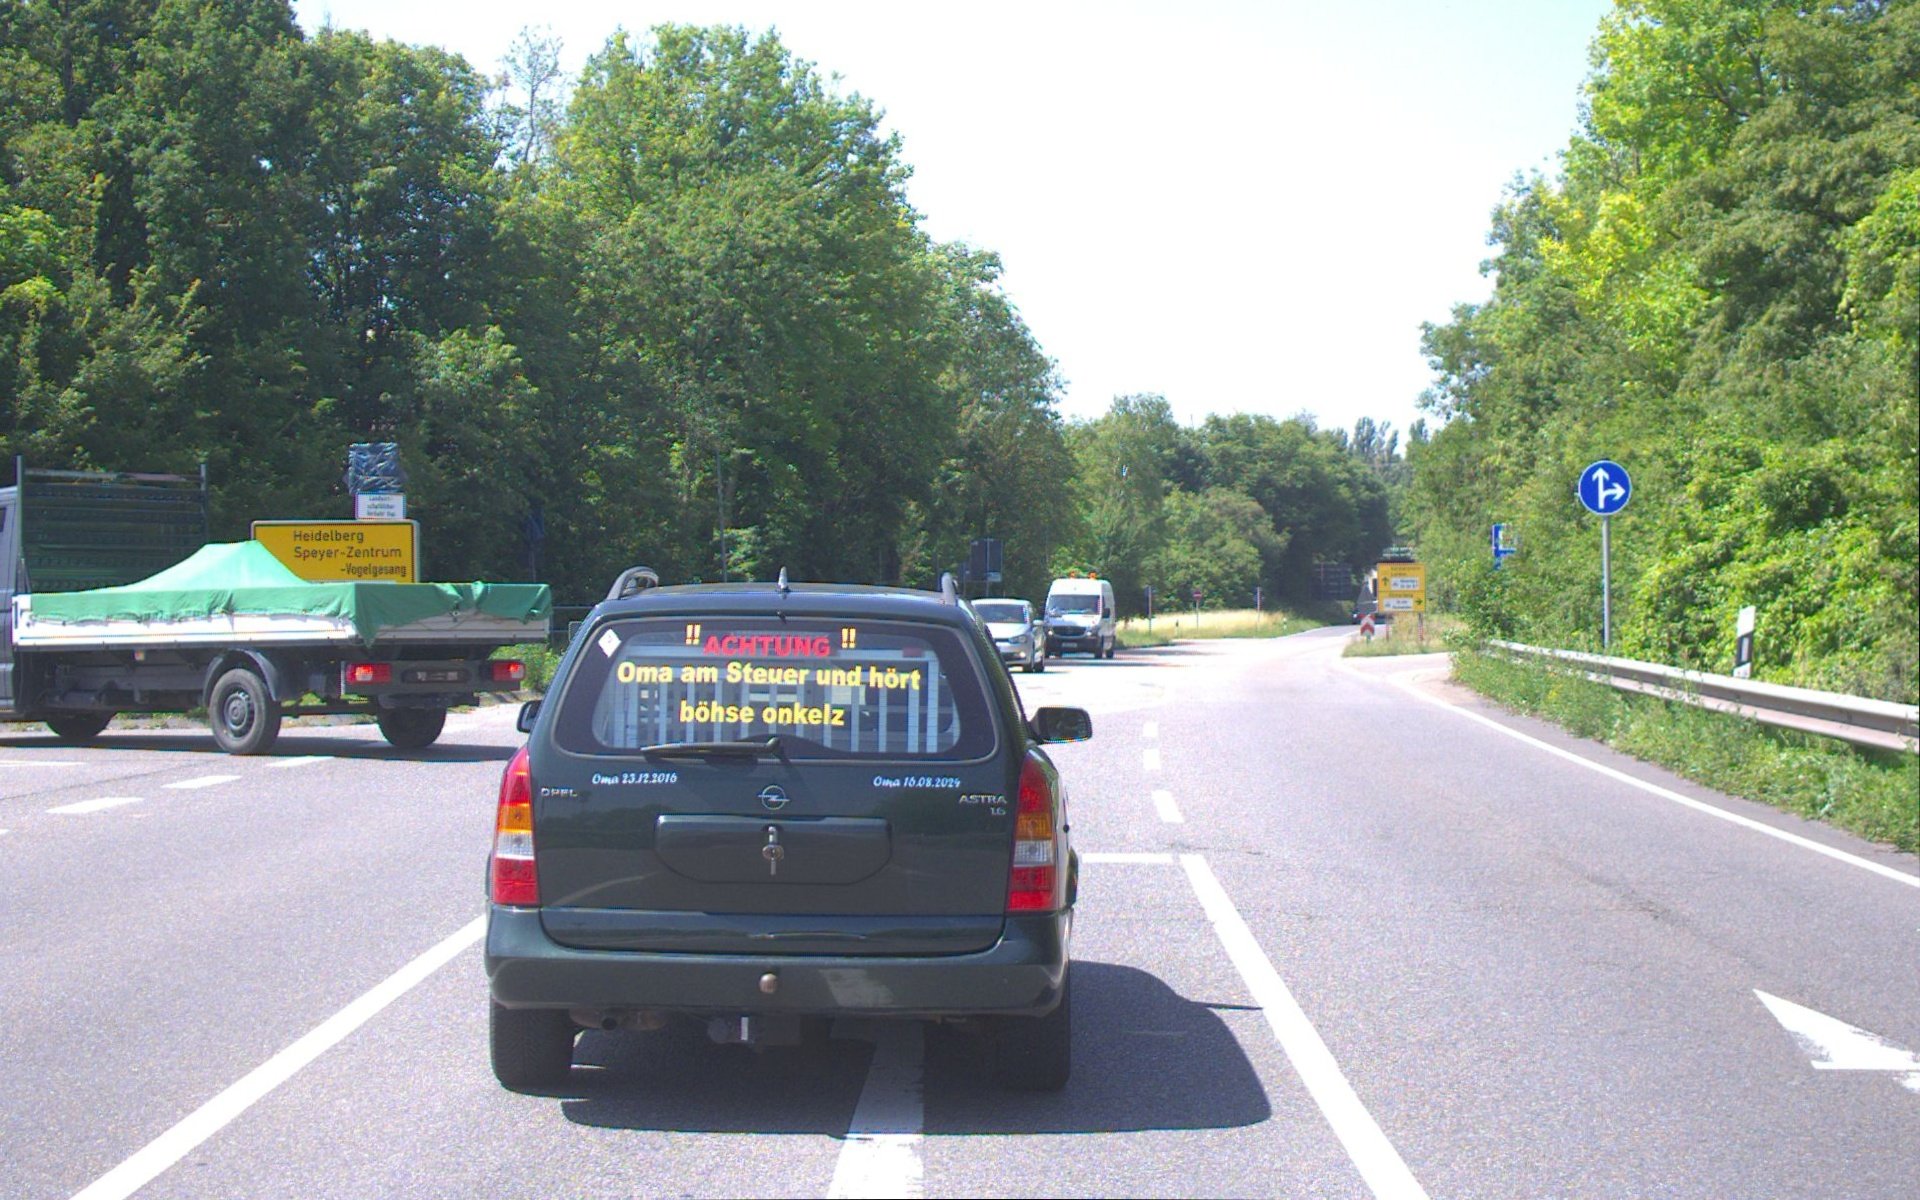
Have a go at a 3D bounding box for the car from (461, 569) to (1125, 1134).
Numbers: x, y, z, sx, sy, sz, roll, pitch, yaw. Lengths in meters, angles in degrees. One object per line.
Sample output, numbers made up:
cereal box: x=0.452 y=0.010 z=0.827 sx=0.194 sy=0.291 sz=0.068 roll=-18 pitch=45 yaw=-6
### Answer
car: x=-0.427 y=0.641 z=10.882 sx=1.720 sy=1.452 sz=3.797 roll=1 pitch=1 yaw=0

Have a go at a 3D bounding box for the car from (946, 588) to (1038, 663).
car: x=0.654 y=0.482 z=67.356 sx=1.644 sy=1.414 sz=3.766 roll=1 pitch=0 yaw=3

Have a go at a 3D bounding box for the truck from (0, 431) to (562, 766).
truck: x=-6.465 y=-0.059 z=29.255 sx=6.633 sy=2.556 sz=2.141 roll=1 pitch=1 yaw=40

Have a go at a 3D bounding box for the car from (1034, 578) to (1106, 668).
car: x=3.635 y=0.728 z=112.740 sx=2.105 sy=2.840 sz=6.011 roll=1 pitch=0 yaw=4

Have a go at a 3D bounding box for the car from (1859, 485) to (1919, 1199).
car: x=3.058 y=0.612 z=6.074 sx=1.843 sy=1.679 sz=4.000 roll=0 pitch=1 yaw=-1

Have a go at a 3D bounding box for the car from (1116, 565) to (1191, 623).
car: x=10.742 y=-0.355 z=191.155 sx=1.993 sy=3.215 sz=4.809 roll=0 pitch=0 yaw=-26
